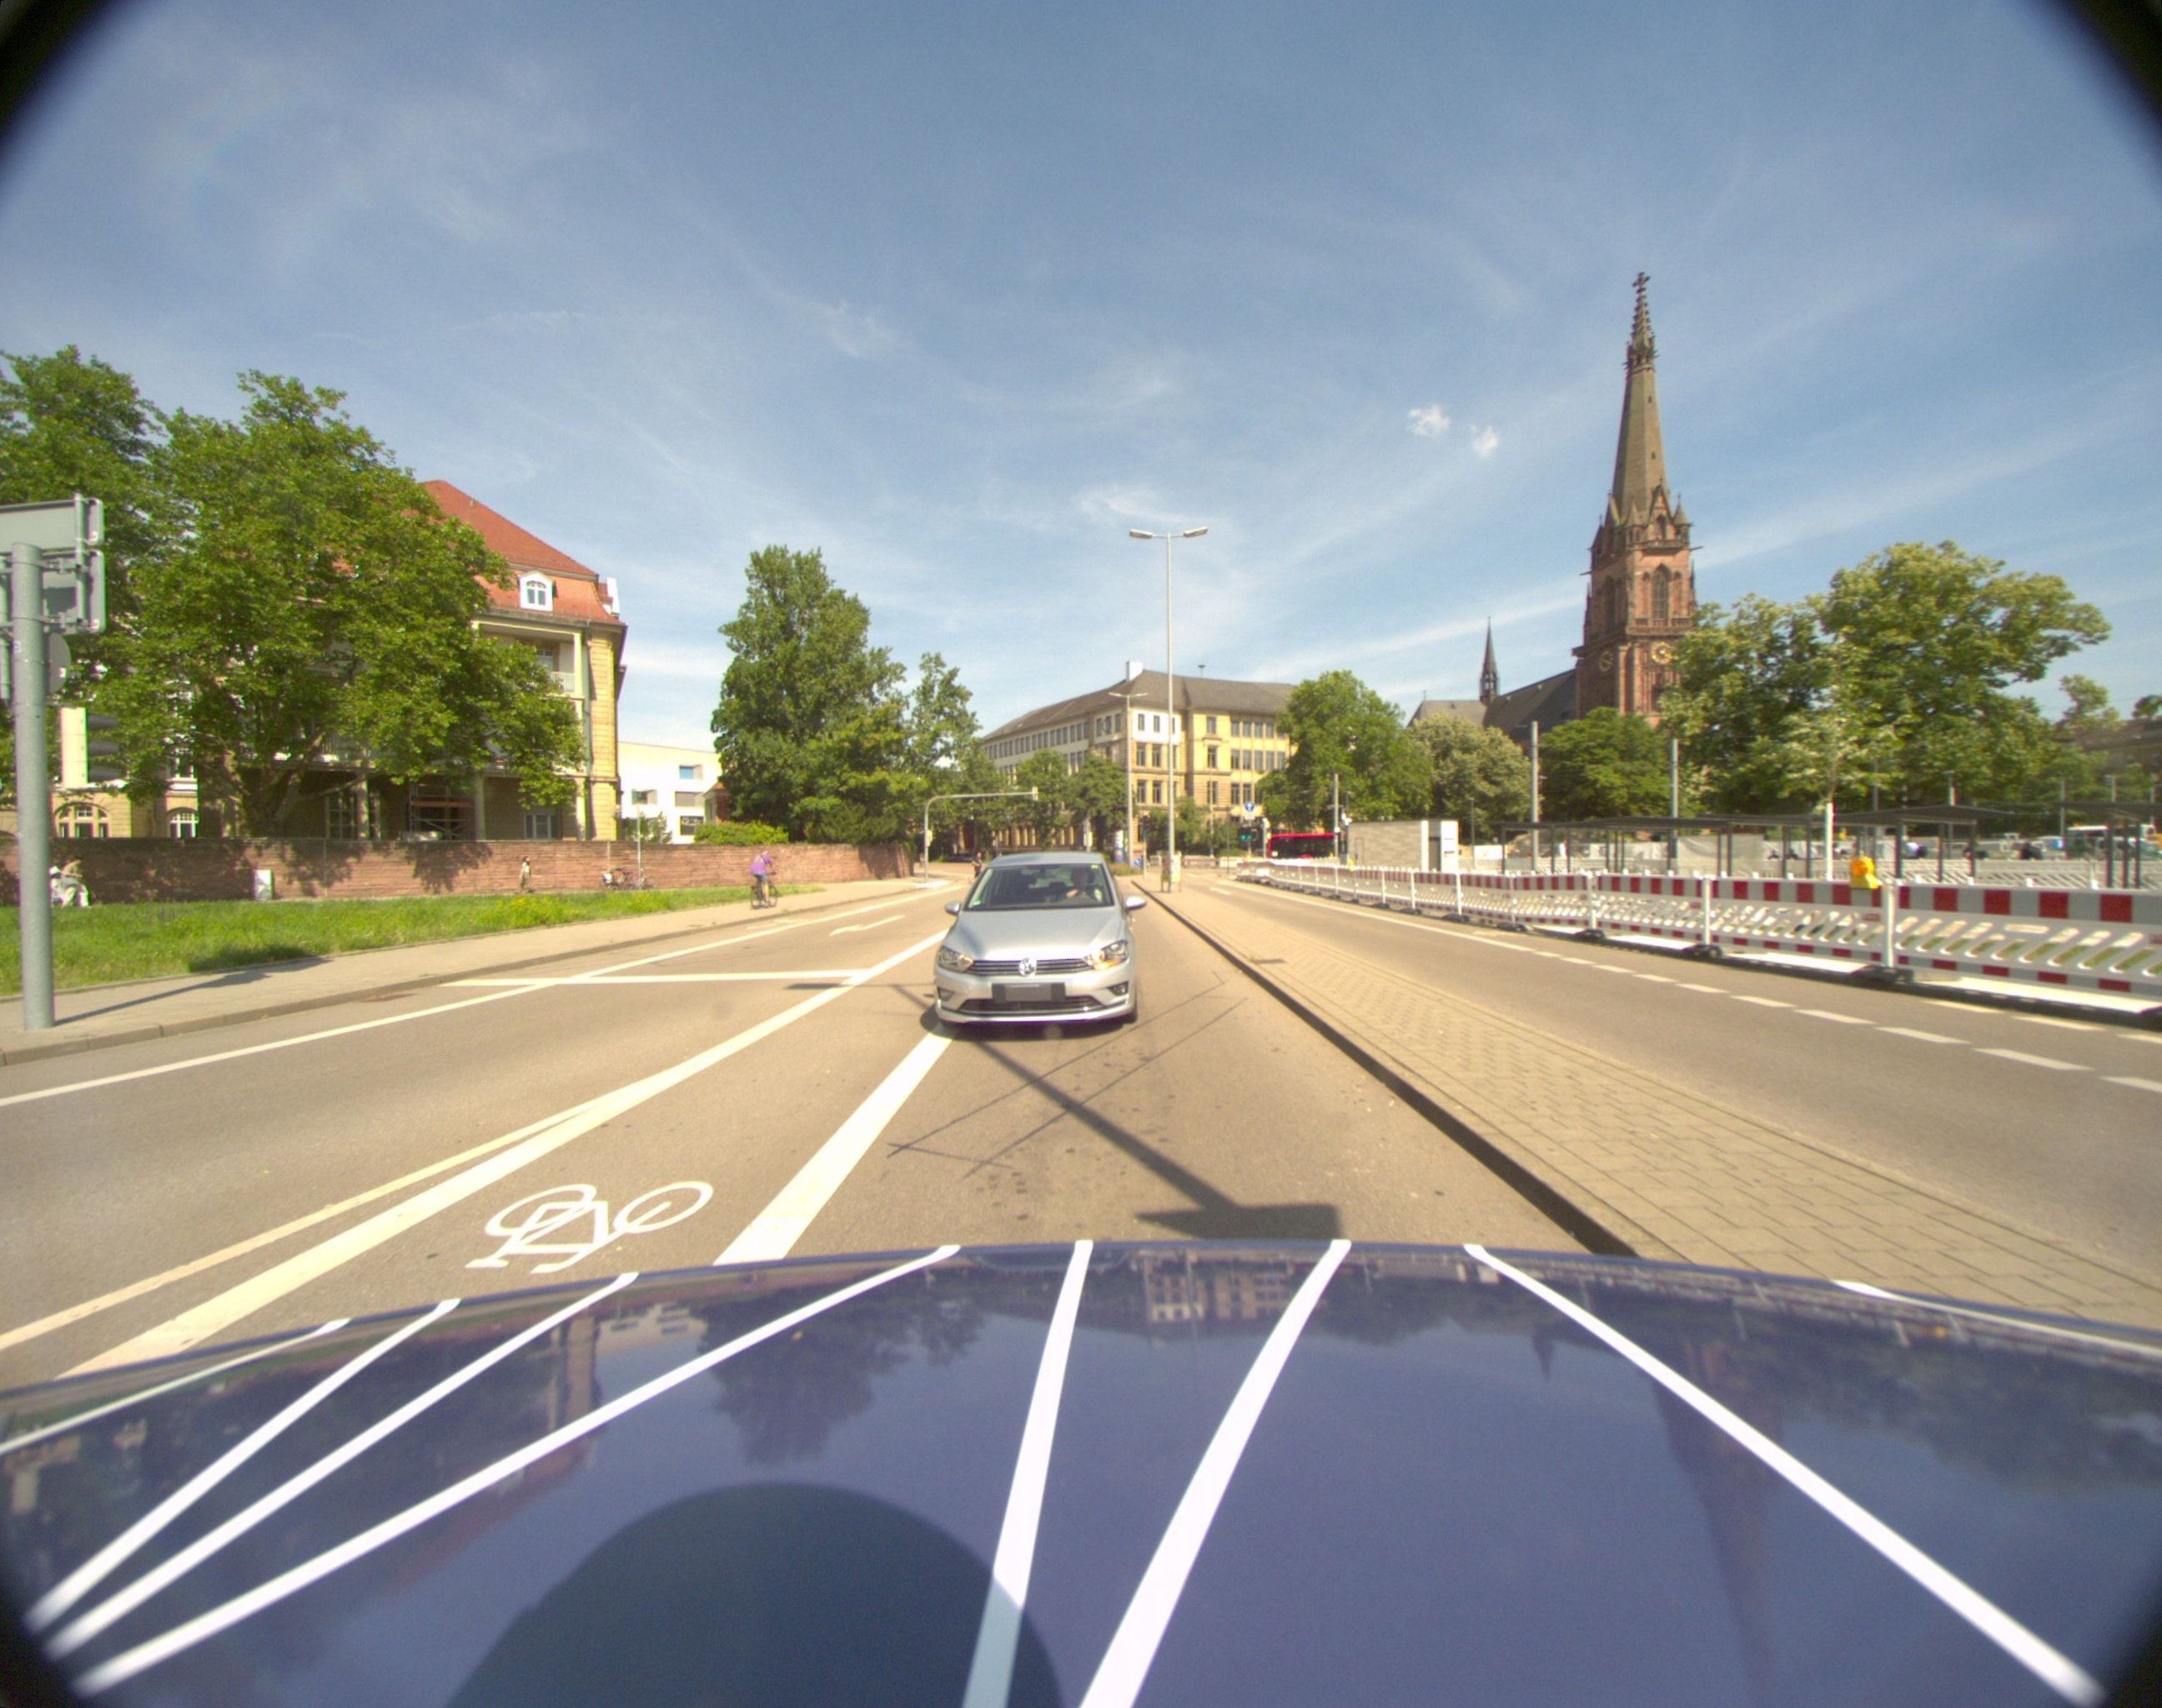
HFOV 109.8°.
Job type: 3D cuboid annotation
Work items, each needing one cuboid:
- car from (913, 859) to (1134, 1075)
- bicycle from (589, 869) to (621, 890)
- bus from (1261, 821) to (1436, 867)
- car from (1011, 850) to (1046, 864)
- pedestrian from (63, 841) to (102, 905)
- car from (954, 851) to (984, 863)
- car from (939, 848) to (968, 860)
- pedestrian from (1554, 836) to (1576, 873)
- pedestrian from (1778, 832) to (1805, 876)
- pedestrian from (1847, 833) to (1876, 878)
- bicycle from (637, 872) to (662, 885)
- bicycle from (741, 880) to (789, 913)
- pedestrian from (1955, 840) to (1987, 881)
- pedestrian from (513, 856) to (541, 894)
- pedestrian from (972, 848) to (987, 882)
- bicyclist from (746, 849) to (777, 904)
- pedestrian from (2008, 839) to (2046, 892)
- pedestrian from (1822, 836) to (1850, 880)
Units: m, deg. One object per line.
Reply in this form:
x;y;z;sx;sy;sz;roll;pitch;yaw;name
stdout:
-0.330;0.874;7.865;1.687;1.577;4.152;0;1;3;car
-21.192;1.143;33.852;0.393;0.878;1.230;0;1;21;bicycle
20.541;-0.707;59.211;12.379;3.076;3.139;-2;1;37;bus
-6.850;0.391;99.562;4.006;1.653;1.994;-3;4;-34;car
-32.063;0.595;24.405;0.597;2.002;0.522;-2;2;-40;pedestrian
-17.081;0.413;115.905;4.006;1.653;1.994;-4;4;-35;car
-20.482;0.015;121.848;4.006;1.653;1.994;-3;4;-33;car
27.010;0.023;42.400;0.820;2.002;0.686;0;1;3;pedestrian
32.855;-0.007;35.145;0.822;2.002;0.685;-1;1;-29;pedestrian
35.164;0.055;34.220;0.822;2.002;0.685;-1;1;-29;pedestrian
-20.158;1.136;35.487;0.274;0.598;0.950;1;1;39;bicycle
-9.737;1.281;23.466;0.685;0.882;1.932;0;1;-1;bicycle
36.629;0.253;31.266;0.743;1.652;0.822;1;1;43;pedestrian
-23.191;0.868;31.831;0.915;1.539;0.502;-1;2;-36;pedestrian
-5.986;0.655;44.669;0.795;2.002;0.615;-1;1;-14;pedestrian
-9.766;0.670;23.244;0.488;1.627;1.084;0;1;-2;bicyclist
35.849;0.430;28.803;0.821;2.002;0.685;-1;1;-24;pedestrian
34.533;0.181;34.749;0.822;2.002;0.685;-1;2;-29;pedestrian
